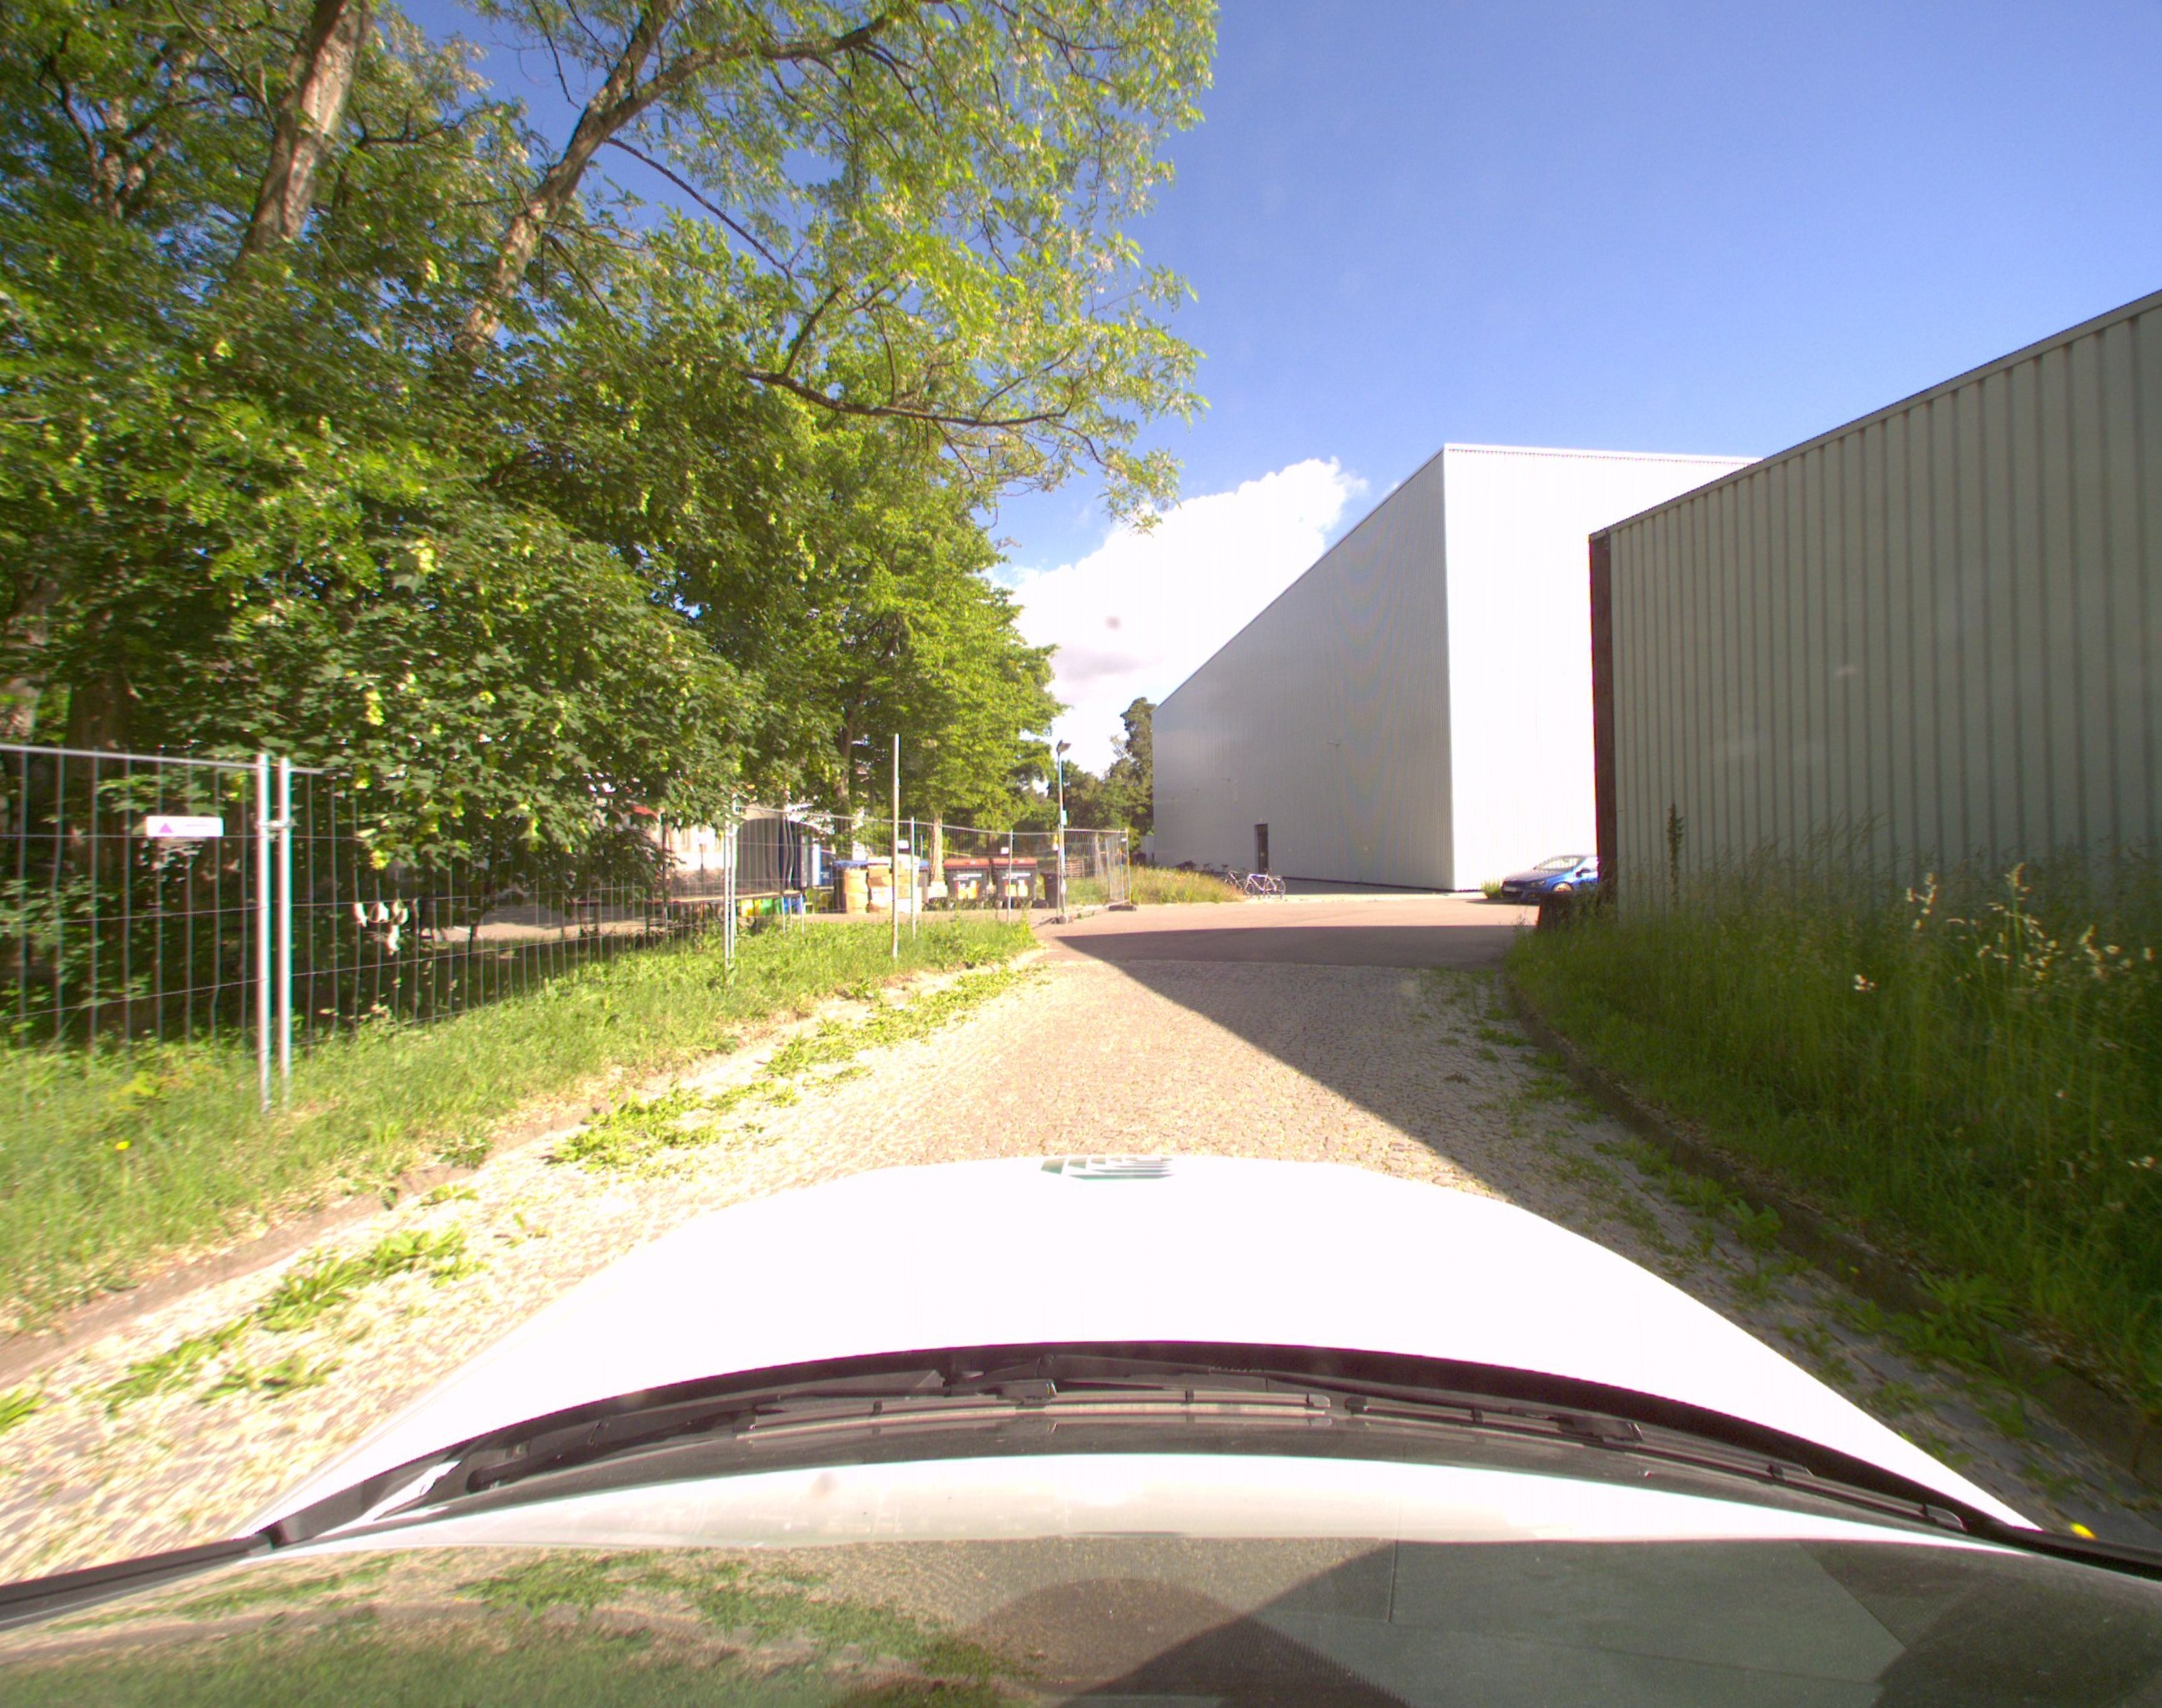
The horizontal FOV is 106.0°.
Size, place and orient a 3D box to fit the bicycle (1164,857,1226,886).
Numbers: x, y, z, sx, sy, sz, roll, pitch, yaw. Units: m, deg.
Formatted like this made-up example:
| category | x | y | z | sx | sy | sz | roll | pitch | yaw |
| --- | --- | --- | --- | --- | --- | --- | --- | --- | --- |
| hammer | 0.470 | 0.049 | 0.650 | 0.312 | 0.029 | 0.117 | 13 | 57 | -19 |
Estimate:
| category | x | y | z | sx | sy | sz | roll | pitch | yaw |
| --- | --- | --- | --- | --- | --- | --- | --- | --- | --- |
| bicycle | 5.224 | 0.791 | 37.447 | 2.624 | 1.266 | 1.140 | -1 | 0 | -3 |

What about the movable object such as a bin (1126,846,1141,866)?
| category | x | y | z | sx | sy | sz | roll | pitch | yaw |
| --- | --- | --- | --- | --- | --- | --- | --- | --- | --- |
| movable object such as a bin | 5.356 | 0.159 | 83.620 | 1.415 | 2.013 | 1.124 | -1 | 0 | -2 |

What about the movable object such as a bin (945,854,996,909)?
| category | x | y | z | sx | sy | sz | roll | pitch | yaw |
| --- | --- | --- | --- | --- | --- | --- | --- | --- | --- |
| movable object such as a bin | -3.091 | 0.764 | 22.806 | 1.339 | 1.484 | 0.803 | -1 | 0 | -13 |

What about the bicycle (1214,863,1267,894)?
| category | x | y | z | sx | sy | sz | roll | pitch | yaw |
| --- | --- | --- | --- | --- | --- | --- | --- | --- | --- |
| bicycle | 5.743 | 0.877 | 29.291 | 1.789 | 1.082 | 0.524 | -1 | 0 | -5 |

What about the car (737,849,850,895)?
| category | x | y | z | sx | sy | sz | roll | pitch | yaw |
| --- | --- | --- | --- | --- | --- | --- | --- | --- | --- |
| car | -13.485 | 0.820 | 38.499 | 4.712 | 1.902 | 1.992 | -2 | -1 | -11 |

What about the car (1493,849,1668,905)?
| category | x | y | z | sx | sy | sz | roll | pitch | yaw |
| --- | --- | --- | --- | --- | --- | --- | --- | --- | --- |
| car | 13.582 | 0.602 | 22.230 | 3.938 | 1.350 | 1.670 | -1 | 1 | -8 |

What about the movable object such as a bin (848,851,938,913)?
| category | x | y | z | sx | sy | sz | roll | pitch | yaw |
| --- | --- | --- | --- | --- | --- | --- | --- | --- | --- |
| movable object such as a bin | -5.113 | 0.744 | 22.259 | 2.290 | 1.591 | 1.169 | -1 | 0 | -13 |

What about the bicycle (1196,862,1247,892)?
| category | x | y | z | sx | sy | sz | roll | pitch | yaw |
| --- | --- | --- | --- | --- | --- | --- | --- | --- | --- |
| bicycle | 5.496 | 0.887 | 31.827 | 1.886 | 1.095 | 0.524 | -1 | -1 | -8 |

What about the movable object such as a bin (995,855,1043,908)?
| category | x | y | z | sx | sy | sz | roll | pitch | yaw |
| --- | --- | --- | --- | --- | --- | --- | --- | --- | --- |
| movable object such as a bin | -1.767 | 0.767 | 23.007 | 1.245 | 1.444 | 0.700 | -1 | 0 | -12 |

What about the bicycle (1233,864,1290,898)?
| category | x | y | z | sx | sy | sz | roll | pitch | yaw |
| --- | --- | --- | --- | --- | --- | --- | --- | --- | --- |
| bicycle | 5.920 | 0.866 | 26.729 | 1.800 | 1.062 | 0.457 | -1 | 0 | -12 |

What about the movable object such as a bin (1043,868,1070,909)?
| category | x | y | z | sx | sy | sz | roll | pitch | yaw |
| --- | --- | --- | --- | --- | --- | --- | --- | --- | --- |
| movable object such as a bin | -0.702 | 0.968 | 23.001 | 0.734 | 1.097 | 0.818 | -1 | 0 | -3 |
